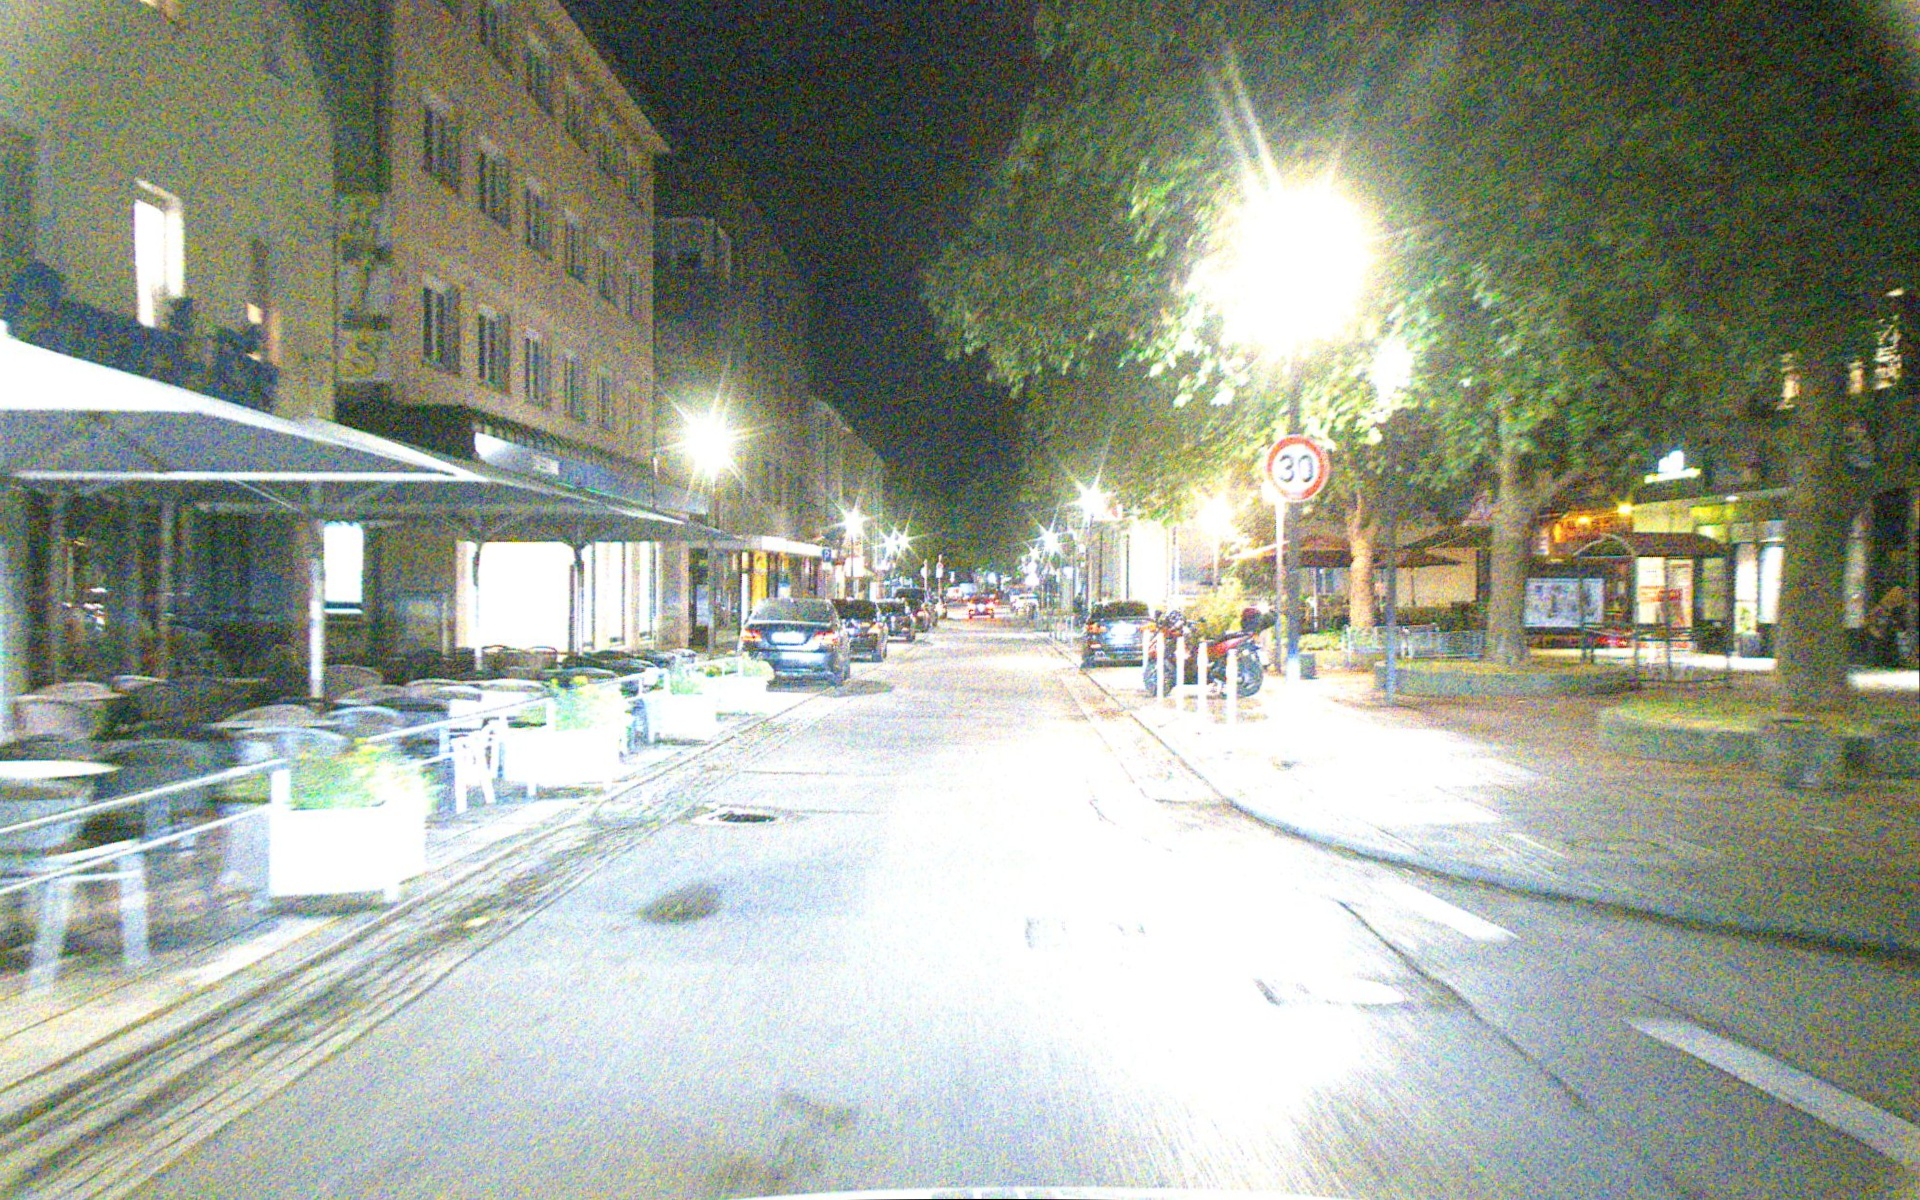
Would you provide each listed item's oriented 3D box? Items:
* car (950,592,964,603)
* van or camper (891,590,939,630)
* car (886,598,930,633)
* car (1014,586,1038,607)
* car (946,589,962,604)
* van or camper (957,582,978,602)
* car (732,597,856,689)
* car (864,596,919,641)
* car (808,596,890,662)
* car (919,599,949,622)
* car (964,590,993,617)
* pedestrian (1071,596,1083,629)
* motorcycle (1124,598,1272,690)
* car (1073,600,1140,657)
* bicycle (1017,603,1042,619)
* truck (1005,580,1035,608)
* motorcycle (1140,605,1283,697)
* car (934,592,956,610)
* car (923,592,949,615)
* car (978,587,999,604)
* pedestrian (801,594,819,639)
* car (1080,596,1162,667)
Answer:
[{"bbox_3d":[-0.408,-0.364,215.236,1.501,1.443,3.842,0,0,-4],"label":"car"},{"bbox_3d":[-2.319,0.524,85.846,1.807,1.976,5.157,1,0,6],"label":"van or camper"},{"bbox_3d":[-2.270,0.674,73.659,1.681,1.437,4.386,1,0,1],"label":"car"},{"bbox_3d":[4.985,-0.246,125.181,1.752,1.517,4.060,-1,0,1],"label":"car"},{"bbox_3d":[-0.779,-0.487,221.566,1.803,1.934,3.842,0,0,-4],"label":"car"},{"bbox_3d":[0.879,-0.956,202.462,2.068,2.357,4.256,-1,0,-6],"label":"van or camper"},{"bbox_3d":[-2.861,0.707,29.424,1.861,1.496,4.523,1,0,-2],"label":"car"},{"bbox_3d":[-2.428,0.651,59.232,1.760,1.504,4.321,1,0,0],"label":"car"},{"bbox_3d":[-2.701,0.691,41.088,1.808,1.489,4.621,2,0,-2],"label":"car"},{"bbox_3d":[-1.801,0.720,117.717,1.978,1.514,5.007,3,0,0],"label":"car"},{"bbox_3d":[1.282,0.208,115.685,1.953,1.855,4.000,0,0,0],"label":"car"},{"bbox_3d":[5.686,0.595,80.346,0.490,1.575,0.480,1,-1,7],"label":"pedestrian"},{"bbox_3d":[3.763,0.693,26.217,2.219,1.415,0.660,-1,-1,26],"label":"motorcycle"},{"bbox_3d":[3.856,0.737,44.011,1.626,1.401,4.106,-2,0,4],"label":"car"},{"bbox_3d":[4.794,0.760,114.075,1.719,1.081,0.346,0,0,-2],"label":"bicycle"},{"bbox_3d":[5.081,-0.497,141.147,2.288,2.352,5.780,-1,0,0],"label":"truck"},{"bbox_3d":[3.716,0.751,24.615,2.129,1.320,0.513,-1,-1,39],"label":"motorcycle"},{"bbox_3d":[-1.351,0.088,145.805,1.641,1.570,4.226,1,0,-5],"label":"car"},{"bbox_3d":[-1.613,0.223,112.206,1.693,1.502,3.846,1,0,0],"label":"car"},{"bbox_3d":[3.049,-0.484,176.563,1.780,1.860,4.342,0,0,-5],"label":"car"},{"bbox_3d":[-6.021,0.654,66.449,0.608,1.776,1.023,1,0,1],"label":"pedestrian"},{"bbox_3d":[3.658,0.686,38.249,1.716,1.489,4.469,-2,0,4],"label":"car"}]
